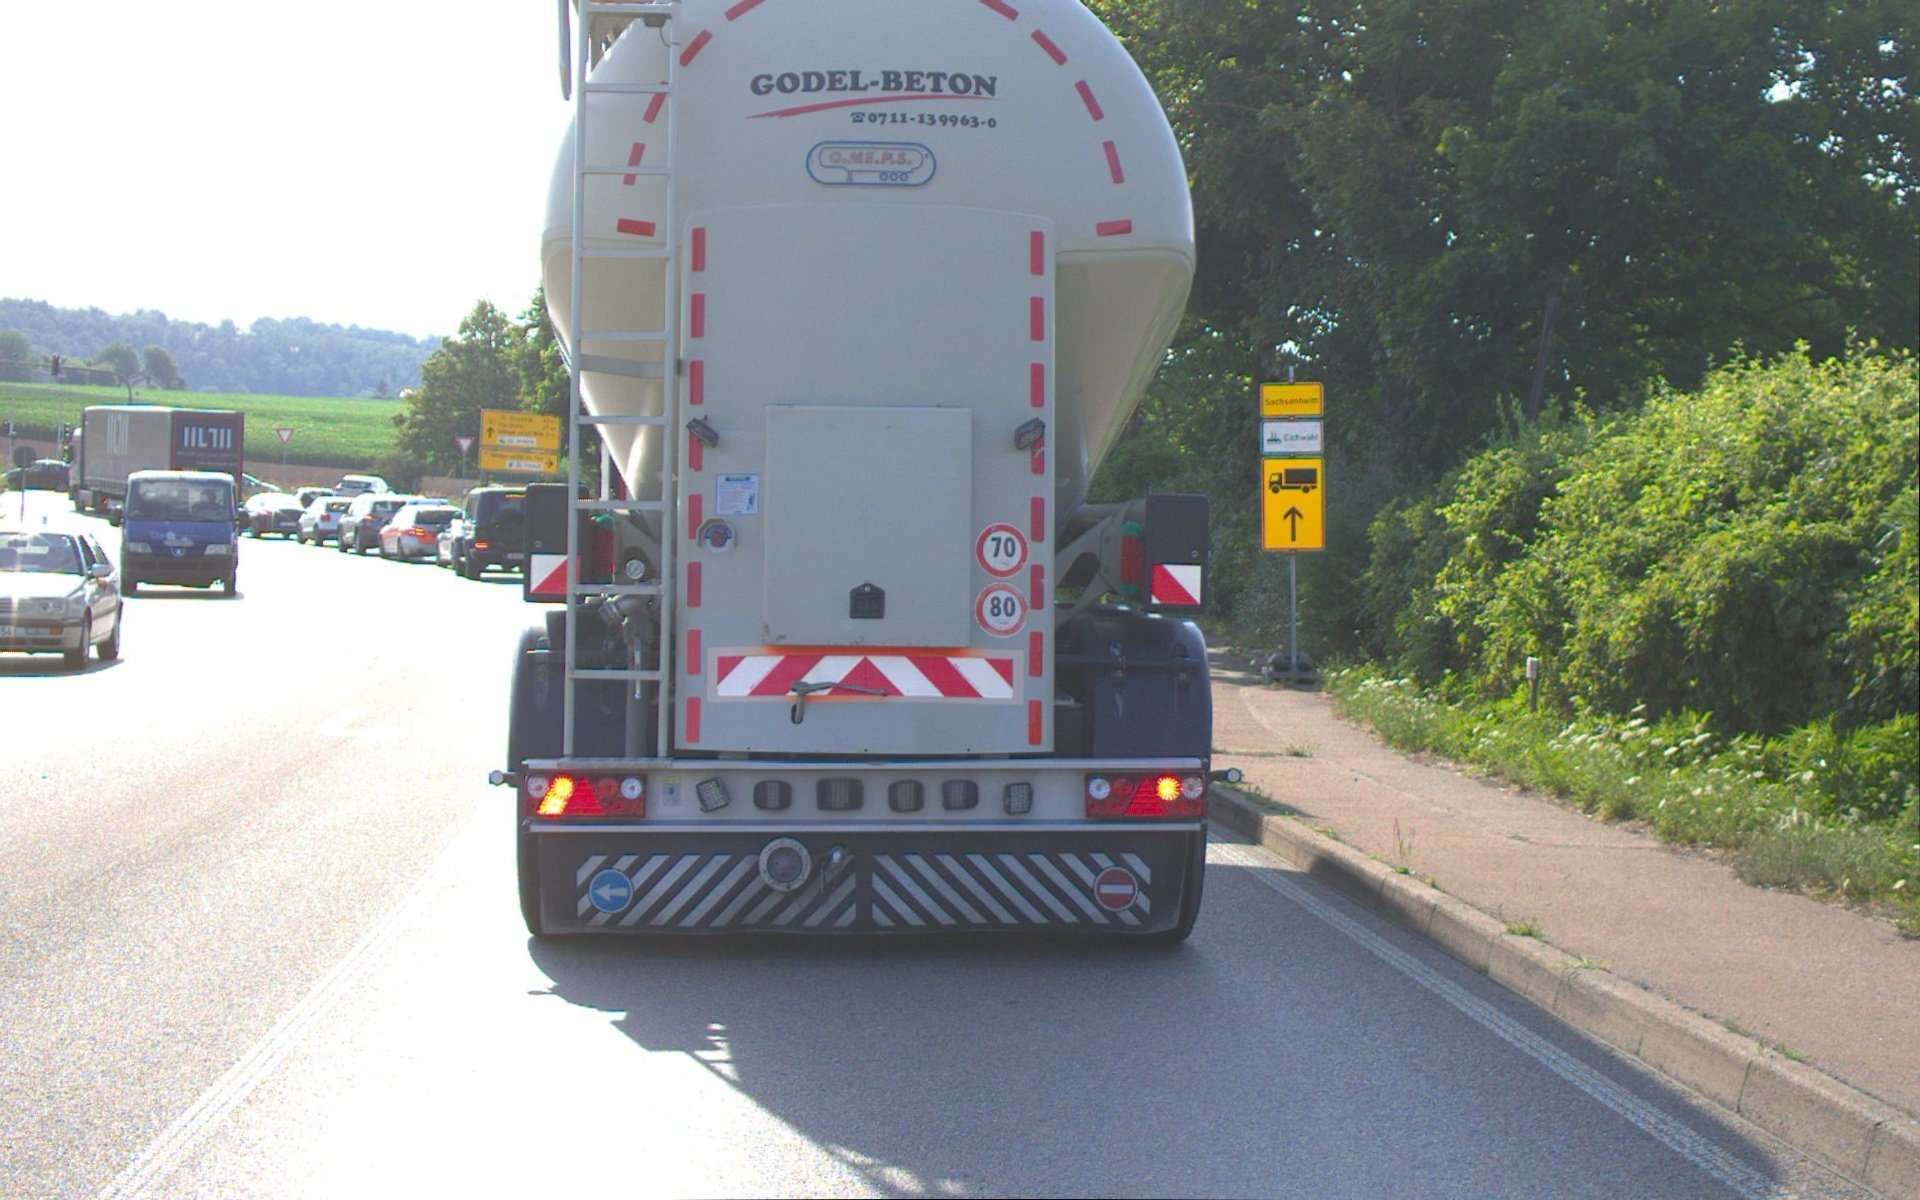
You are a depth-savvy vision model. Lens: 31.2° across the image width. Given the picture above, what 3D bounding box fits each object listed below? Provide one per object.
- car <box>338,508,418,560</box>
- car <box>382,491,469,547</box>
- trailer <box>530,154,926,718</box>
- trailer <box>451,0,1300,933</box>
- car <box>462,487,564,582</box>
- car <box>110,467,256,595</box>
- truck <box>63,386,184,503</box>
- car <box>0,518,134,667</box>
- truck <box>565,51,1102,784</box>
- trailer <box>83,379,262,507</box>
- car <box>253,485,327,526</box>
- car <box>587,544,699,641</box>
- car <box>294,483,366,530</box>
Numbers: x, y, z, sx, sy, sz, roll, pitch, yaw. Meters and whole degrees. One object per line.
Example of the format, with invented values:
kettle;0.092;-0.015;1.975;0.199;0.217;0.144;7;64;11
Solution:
car;-16.055;-1.832;94.790;1.580;1.336;3.427;2;1;-19
car;-13.807;-2.102;88.685;1.580;1.336;3.427;2;1;-19
trailer;-2.044;-1.449;33.944;2.954;4.300;14.177;2;1;-2
trailer;-0.573;-0.954;16.877;2.909;3.992;9.932;1;1;-3
car;-9.716;-1.436;74.547;1.861;2.007;3.720;0;1;-13
car;-13.573;-1.211;60.276;1.998;2.129;4.780;1;1;-7
truck;-32.638;-6.032;134.001;3.375;4.335;5.707;1;1;-25
car;-9.621;-0.124;35.275;1.706;1.423;4.179;1;1;-7
truck;-0.805;-1.036;20.955;2.909;3.992;4.060;1;1;-3
trailer;-29.117;-5.727;126.419;3.375;4.335;14.297;1;1;-25
car;-21.263;-2.996;109.038;1.769;1.201;3.427;2;1;-19
car;-4.796;-0.132;52.008;1.580;1.336;3.426;2;1;-5
car;-18.867;-2.813;102.832;1.580;1.336;3.427;2;1;-19
